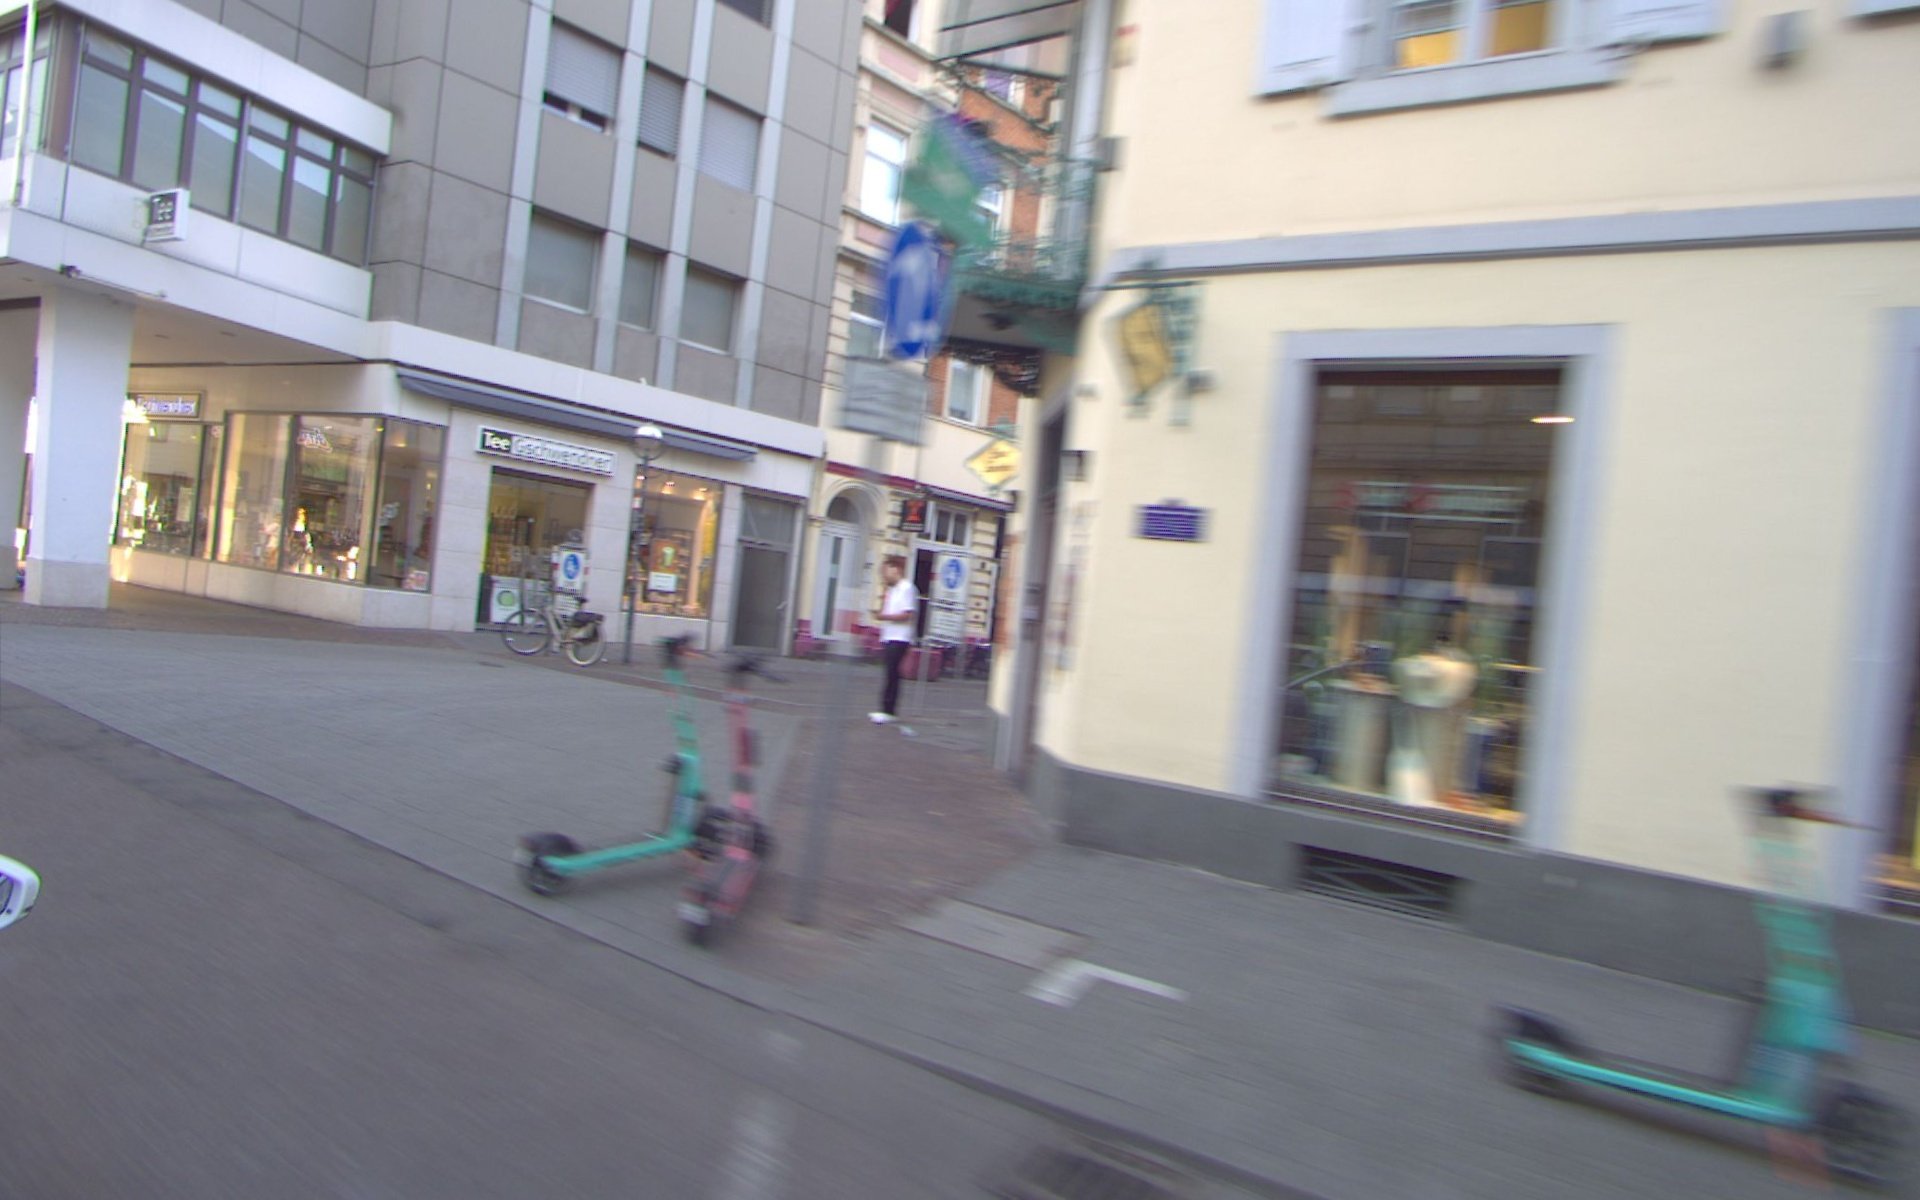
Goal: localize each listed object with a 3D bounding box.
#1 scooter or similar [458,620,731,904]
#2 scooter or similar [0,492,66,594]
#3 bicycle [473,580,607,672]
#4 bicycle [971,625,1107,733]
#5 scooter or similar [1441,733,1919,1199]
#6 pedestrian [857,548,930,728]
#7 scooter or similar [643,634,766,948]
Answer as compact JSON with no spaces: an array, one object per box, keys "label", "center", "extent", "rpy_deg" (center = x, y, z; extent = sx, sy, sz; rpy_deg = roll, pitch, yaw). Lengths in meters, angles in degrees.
[{"label":"scooter or similar","center":[-1.779,0.764,5.013],"extent":[0.312,1.250,1.172],"rpy_deg":[7,2,44]},{"label":"scooter or similar","center":[-14.775,-0.913,15.991],"extent":[1.292,1.507,0.314],"rpy_deg":[6,1,28]},{"label":"bicycle","center":[-6.127,0.374,14.638],"extent":[1.815,1.041,0.771],"rpy_deg":[8,0,31]},{"label":"bicycle","center":[1.008,1.024,13.371],"extent":[0.764,1.195,1.832],"rpy_deg":[7,-2,-31]},{"label":"scooter or similar","center":[2.448,1.188,3.479],"extent":[1.286,1.250,0.271],"rpy_deg":[6,2,32]},{"label":"pedestrian","center":[-0.800,0.441,11.916],"extent":[0.535,2.039,0.643],"rpy_deg":[6,1,-15]},{"label":"scooter or similar","center":[-1.165,0.817,4.711],"extent":[0.267,1.250,1.047],"rpy_deg":[5,1,-4]}]
